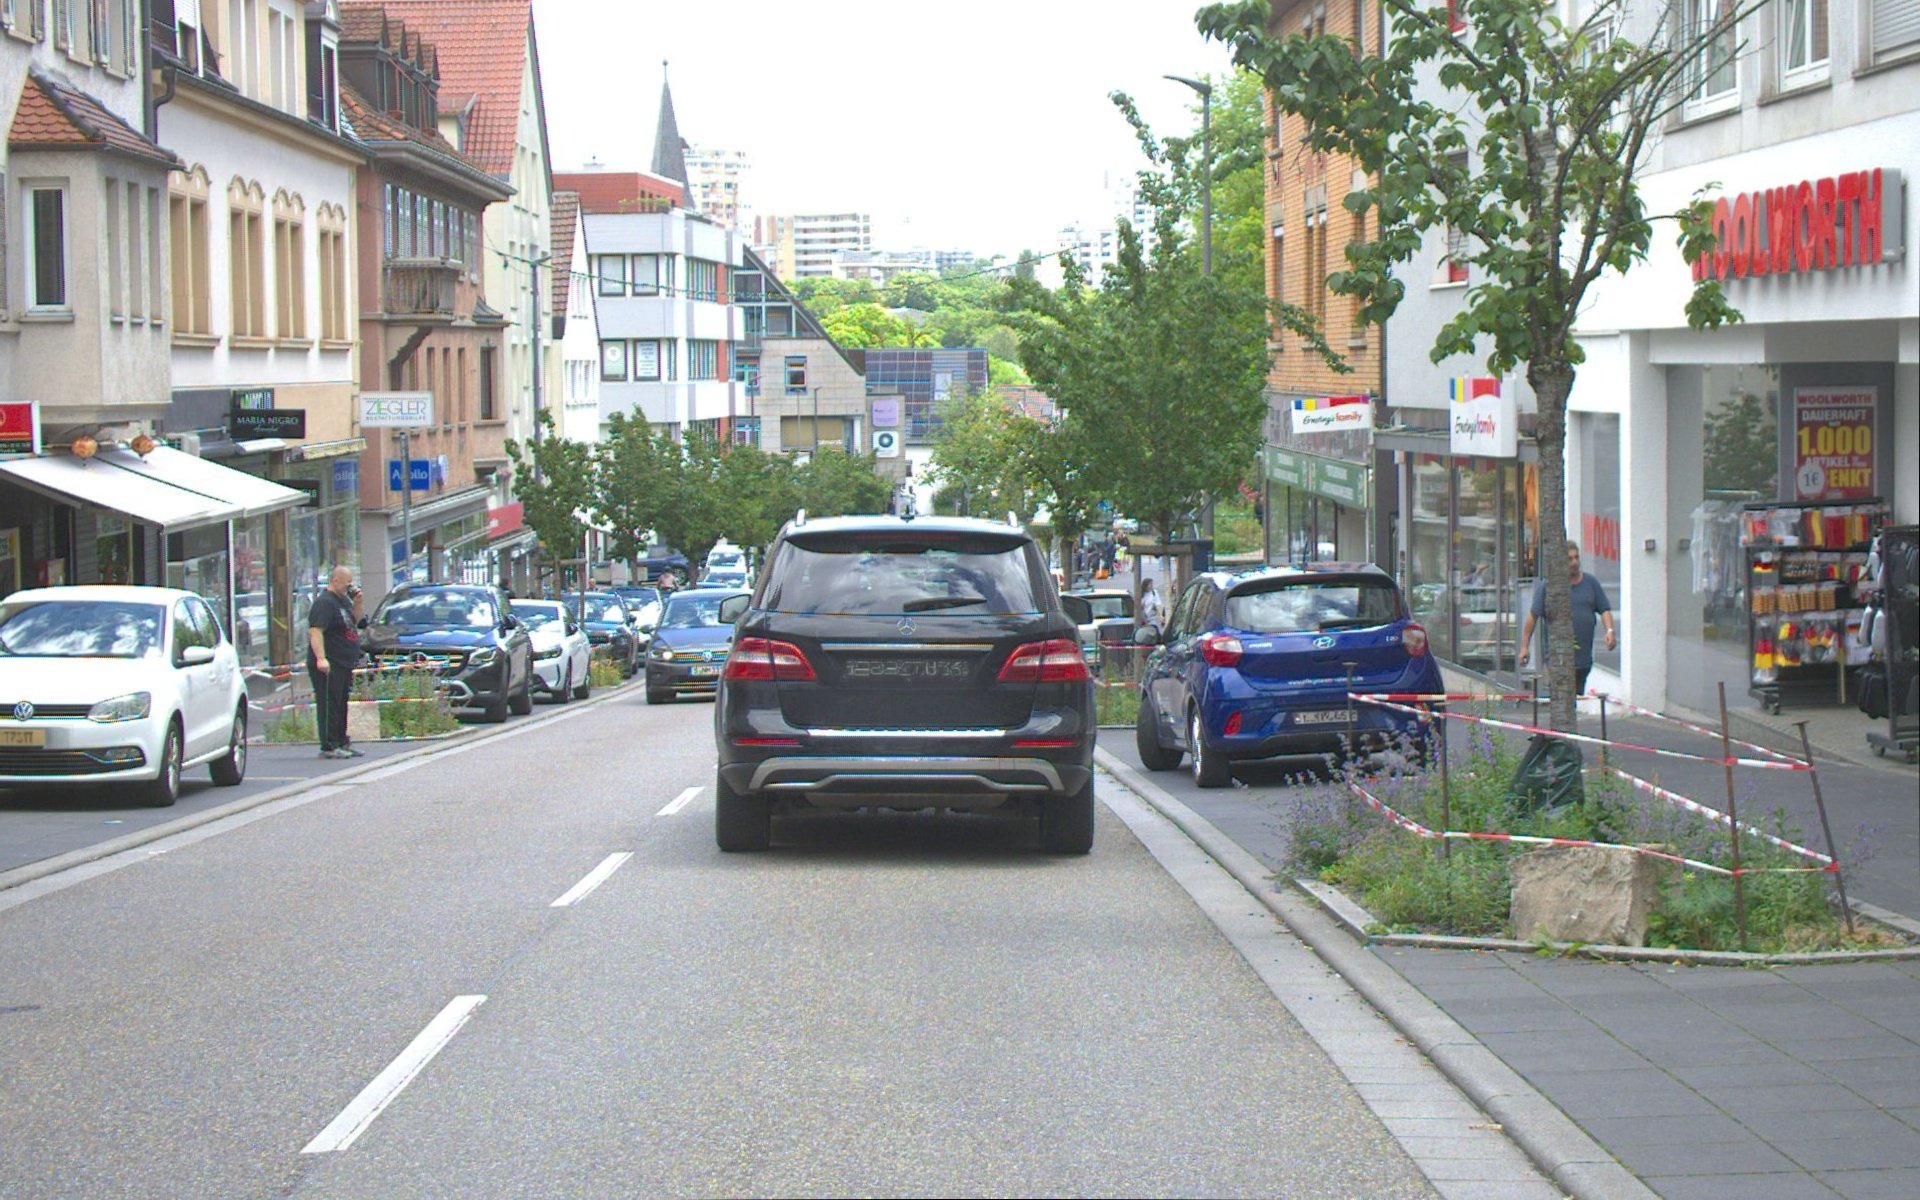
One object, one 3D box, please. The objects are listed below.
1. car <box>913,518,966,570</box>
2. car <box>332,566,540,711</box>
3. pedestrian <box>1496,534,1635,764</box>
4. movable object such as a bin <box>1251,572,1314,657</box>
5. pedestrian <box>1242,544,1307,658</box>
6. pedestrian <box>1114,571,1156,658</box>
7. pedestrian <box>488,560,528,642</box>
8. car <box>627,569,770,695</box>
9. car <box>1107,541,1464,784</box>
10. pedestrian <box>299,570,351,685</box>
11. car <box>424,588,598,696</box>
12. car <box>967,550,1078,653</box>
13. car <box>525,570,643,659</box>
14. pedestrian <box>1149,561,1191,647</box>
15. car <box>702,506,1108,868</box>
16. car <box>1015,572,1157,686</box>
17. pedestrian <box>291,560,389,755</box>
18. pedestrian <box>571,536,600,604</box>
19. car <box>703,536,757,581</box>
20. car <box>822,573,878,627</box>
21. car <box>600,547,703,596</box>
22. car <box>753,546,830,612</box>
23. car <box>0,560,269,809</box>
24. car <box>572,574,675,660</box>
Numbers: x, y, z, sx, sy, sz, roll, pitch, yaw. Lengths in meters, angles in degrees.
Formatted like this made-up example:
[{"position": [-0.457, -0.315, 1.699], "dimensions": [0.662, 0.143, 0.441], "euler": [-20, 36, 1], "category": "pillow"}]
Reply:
[{"position": [-0.956, -2.661, 162.479], "dimensions": [2.174, 2.356, 4.622], "euler": [-1, 1, 3], "category": "car"}, {"position": [-6.219, 0.430, 41.282], "dimensions": [1.926, 1.616, 4.640], "euler": [1, 0, -2], "category": "car"}, {"position": [4.188, 0.327, 23.832], "dimensions": [0.756, 1.555, 0.818], "euler": [-1, 1, -3], "category": "pedestrian"}, {"position": [4.575, 0.199, 48.797], "dimensions": [0.721, 1.154, 0.907], "euler": [-3, 0, -2], "category": "movable object such as a bin"}, {"position": [4.529, 0.009, 49.560], "dimensions": [0.735, 1.579, 1.000], "euler": [-3, 0, -2], "category": "pedestrian"}, {"position": [3.361, 0.273, 66.123], "dimensions": [0.671, 1.627, 0.670], "euler": [-3, 0, -3], "category": "pedestrian"}, {"position": [-9.224, 0.016, 70.151], "dimensions": [0.727, 1.662, 0.720], "euler": [0, 0, -2], "category": "pedestrian"}, {"position": [-3.623, 0.422, 48.160], "dimensions": [1.819, 1.612, 4.136], "euler": [-2, 0, -3], "category": "car"}, {"position": [2.218, 0.425, 24.404], "dimensions": [1.748, 1.492, 3.800], "euler": [-3, 0, -6], "category": "car"}, {"position": [-8.904, 0.376, 48.199], "dimensions": [0.547, 1.570, 0.863], "euler": [-1, 1, -2], "category": "pedestrian"}, {"position": [-6.340, 0.568, 48.961], "dimensions": [1.926, 1.425, 4.262], "euler": [0, 1, 0], "category": "car"}, {"position": [1.207, -0.008, 68.815], "dimensions": [1.938, 1.885, 4.707], "euler": [-3, 1, -1], "category": "car"}, {"position": [-6.798, 0.238, 62.481], "dimensions": [1.926, 1.491, 4.263], "euler": [-1, 1, -4], "category": "car"}, {"position": [4.054, 0.074, 66.375], "dimensions": [0.671, 1.627, 0.670], "euler": [-3, 0, -3], "category": "pedestrian"}, {"position": [-0.285, 0.367, 18.662], "dimensions": [1.943, 1.734, 4.179], "euler": [0, 1, -1], "category": "car"}, {"position": [1.830, 0.398, 51.169], "dimensions": [1.748, 1.460, 4.075], "euler": [-4, 1, -2], "category": "car"}, {"position": [-5.404, 0.491, 29.986], "dimensions": [0.737, 1.666, 0.863], "euler": [0, 1, -3], "category": "pedestrian"}, {"position": [-9.190, -0.735, 84.416], "dimensions": [0.641, 1.662, 0.720], "euler": [0, 0, -2], "category": "pedestrian"}, {"position": [-8.702, -1.593, 130.352], "dimensions": [1.926, 1.623, 4.415], "euler": [2, 1, -3], "category": "car"}, {"position": [-3.679, -0.009, 114.756], "dimensions": [1.764, 1.611, 4.033], "euler": [-3, 2, -2], "category": "car"}, {"position": [-12.347, -1.140, 137.676], "dimensions": [3.986, 1.744, 2.000], "euler": [-3, 0, -4], "category": "car"}, {"position": [-4.512, -0.579, 92.709], "dimensions": [1.992, 1.712, 4.447], "euler": [0, 1, -2], "category": "car"}, {"position": [-6.172, 0.516, 24.058], "dimensions": [1.926, 1.506, 4.262], "euler": [1, 1, -2], "category": "car"}, {"position": [-6.818, 0.318, 69.982], "dimensions": [1.926, 1.590, 4.459], "euler": [2, 1, -4], "category": "car"}]
